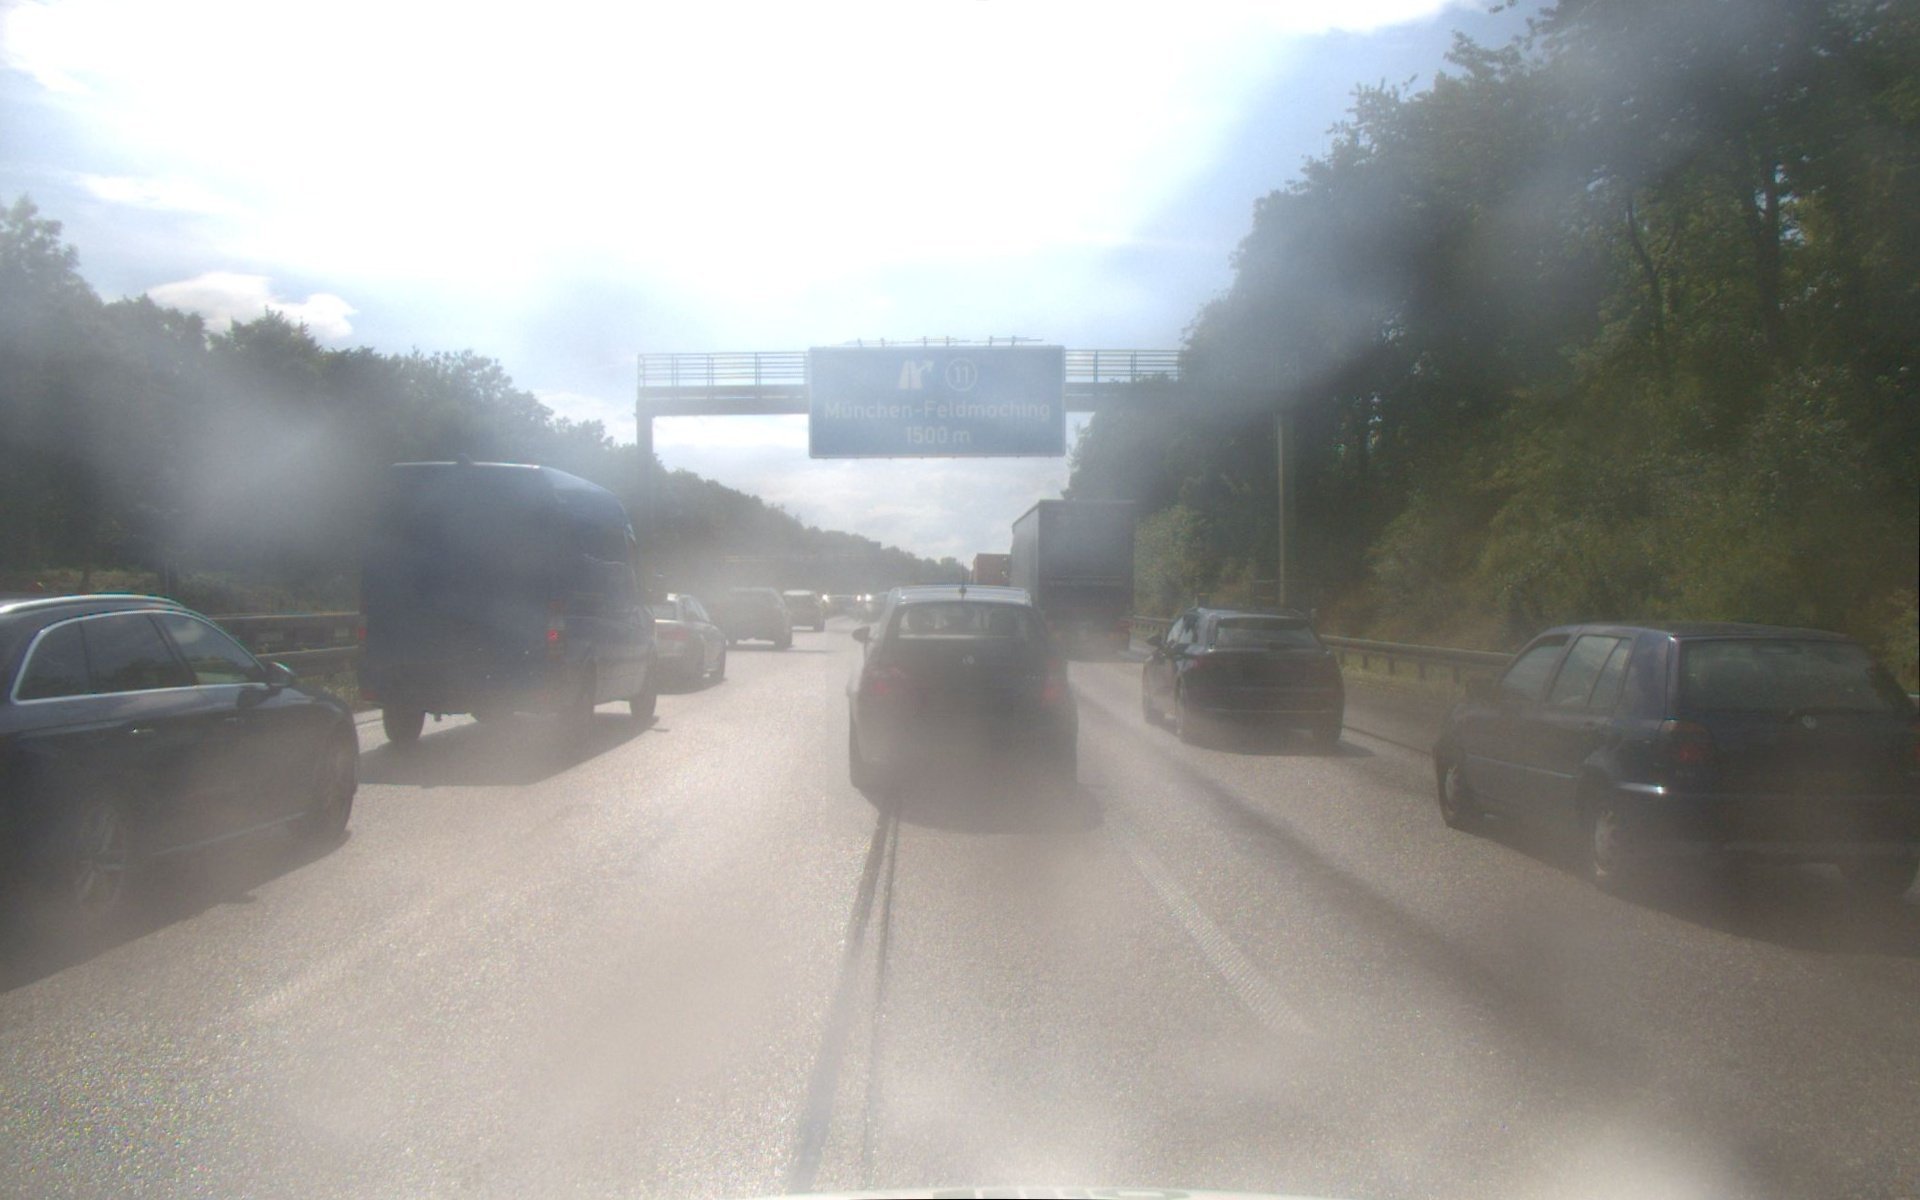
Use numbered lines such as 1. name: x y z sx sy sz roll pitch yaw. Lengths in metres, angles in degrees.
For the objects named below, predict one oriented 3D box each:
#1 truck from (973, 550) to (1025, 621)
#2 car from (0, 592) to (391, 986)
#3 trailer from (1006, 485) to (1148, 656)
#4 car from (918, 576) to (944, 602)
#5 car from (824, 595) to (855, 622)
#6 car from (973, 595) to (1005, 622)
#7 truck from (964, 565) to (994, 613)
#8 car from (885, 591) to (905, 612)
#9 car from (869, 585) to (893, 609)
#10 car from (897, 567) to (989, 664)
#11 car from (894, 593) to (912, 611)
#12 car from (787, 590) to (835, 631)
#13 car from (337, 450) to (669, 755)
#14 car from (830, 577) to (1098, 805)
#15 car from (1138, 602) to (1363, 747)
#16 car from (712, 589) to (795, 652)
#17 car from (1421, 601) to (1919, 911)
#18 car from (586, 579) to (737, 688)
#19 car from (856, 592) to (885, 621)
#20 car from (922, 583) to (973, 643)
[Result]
1. truck: 2.526 -0.919 109.587 3.137 4.481 9.431 1 0 0
2. car: -4.387 0.684 8.115 1.684 1.436 4.467 1 0 -1
3. trailer: 3.222 -0.772 49.796 3.025 4.388 14.102 1 0 -1
4. car: -1.782 -0.669 101.604 1.598 1.516 3.436 1 0 -1
5. car: -7.086 0.500 97.512 1.641 1.516 3.436 1 0 -1
6. car: 1.621 0.472 93.257 1.641 1.516 3.436 1 0 -1
7. truck: 1.923 -1.100 171.747 2.823 4.769 12.656 1 0 -1
8. car: -6.647 0.190 168.957 1.953 2.049 3.999 1 0 -1
9. car: -6.941 -0.233 146.153 1.953 2.049 3.999 1 0 -1
10. car: -0.403 0.336 37.618 1.953 2.049 3.999 1 0 -1
11. car: -6.533 0.217 189.799 1.953 2.049 3.999 1 0 -1
12. car: -6.007 0.410 66.980 1.641 1.625 3.436 1 0 -1
13. car: -4.583 0.023 17.639 1.974 2.695 5.775 1 0 -1
14. car: 0.000 0.639 13.820 1.876 1.592 4.313 1 0 -1
15. car: 3.156 0.755 18.808 1.719 1.421 4.367 1 0 -1
16. car: -5.736 0.550 46.393 1.854 1.656 4.194 1 0 -1
17. car: 4.131 0.756 9.854 1.617 1.481 3.743 0 0 -2
18. car: -4.797 0.502 27.139 1.722 1.622 4.330 1 0 -1
19. car: -6.569 0.472 121.686 1.953 2.049 3.999 1 0 -1
20. car: -0.444 0.427 56.227 1.641 1.970 3.772 1 0 -1
